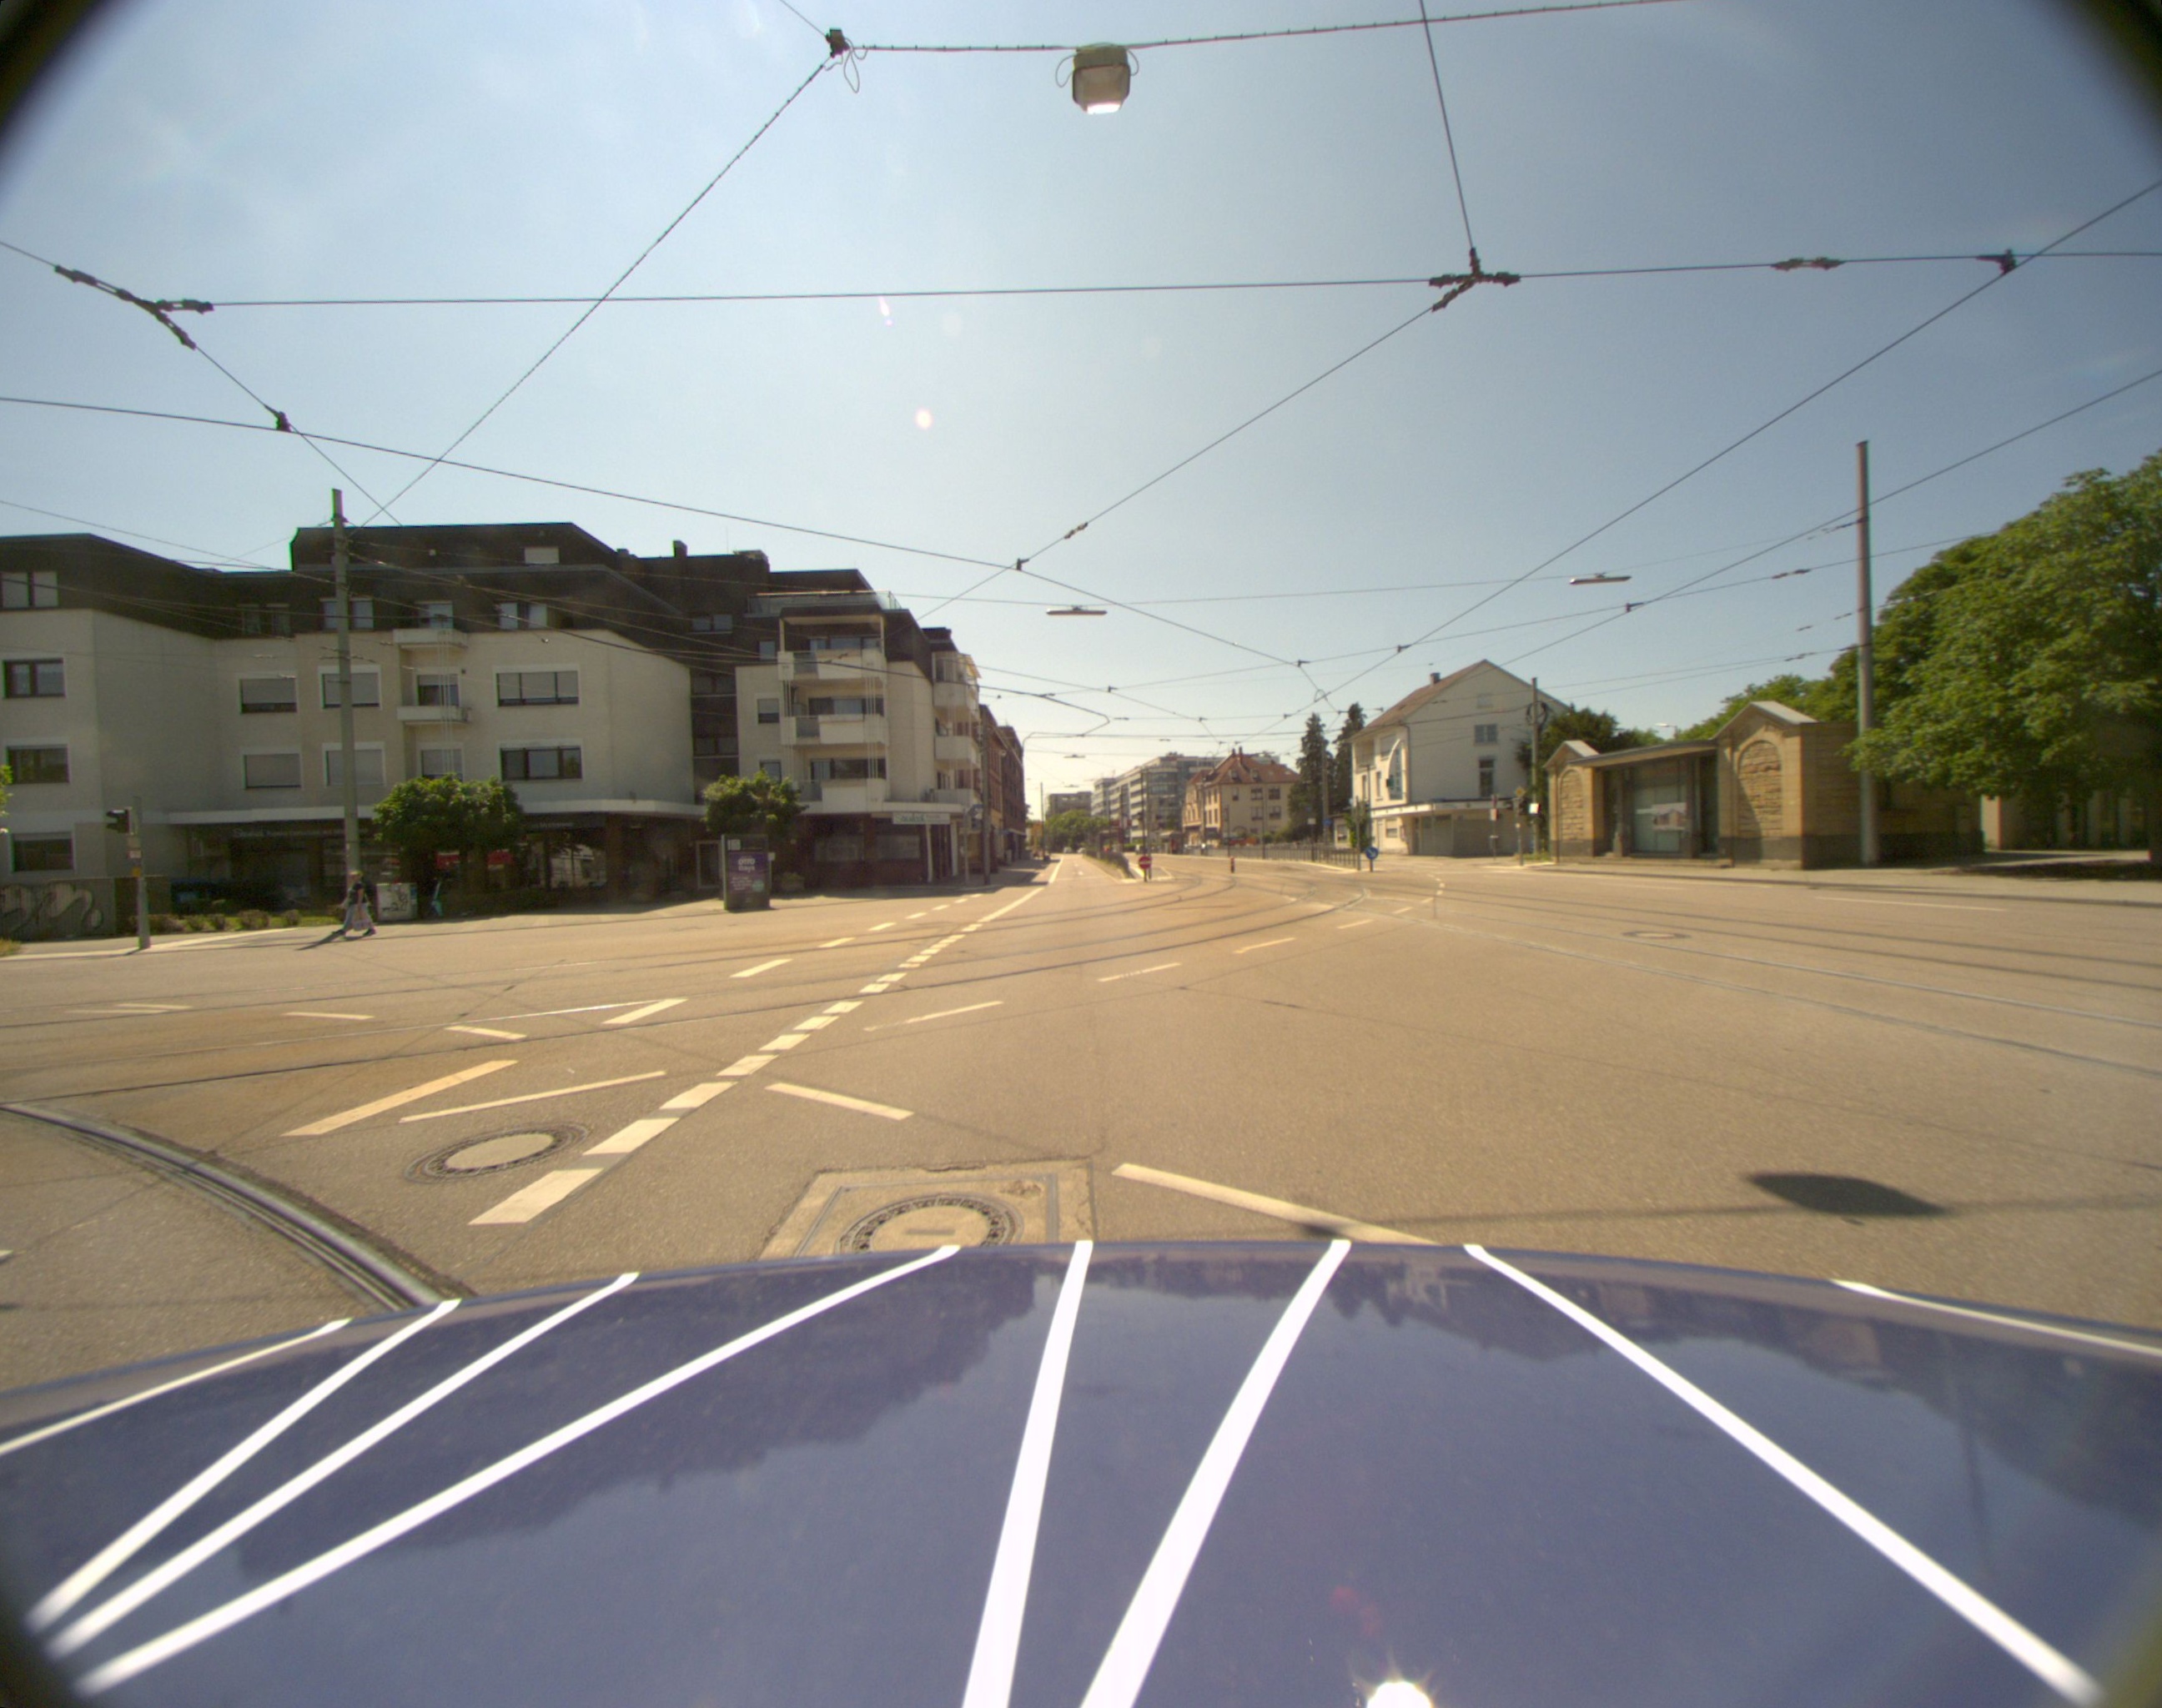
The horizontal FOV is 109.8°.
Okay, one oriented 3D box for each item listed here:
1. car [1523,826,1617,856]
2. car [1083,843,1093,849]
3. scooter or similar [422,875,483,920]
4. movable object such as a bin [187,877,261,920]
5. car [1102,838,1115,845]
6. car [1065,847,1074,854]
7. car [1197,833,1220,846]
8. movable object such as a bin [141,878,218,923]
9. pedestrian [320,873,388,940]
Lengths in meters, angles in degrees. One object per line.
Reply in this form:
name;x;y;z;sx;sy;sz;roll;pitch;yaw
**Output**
car;26.998;-0.700;42.045;3.954;1.444;1.824;-2;1;4
car;1.734;-1.930;194.190;1.824;1.459;4.619;-2;1;-9
scooter or similar;-18.257;1.253;22.108;1.257;1.206;0.393;-3;2;-27
movable object such as a bin;-30.170;1.556;26.774;1.321;1.398;1.062;-2;1;-2
car;6.172;-2.817;171.473;1.824;1.388;4.170;-2;1;-12
car;-3.433;-1.043;220.515;1.862;1.806;4.694;-2;0;-9
car;15.505;-1.723;92.448;1.823;1.481;4.496;-2;2;-3
movable object such as a bin;-30.306;1.554;25.575;1.059;1.398;1.194;-2;1;-2
pedestrian;-17.906;1.281;18.736;0.827;1.574;0.827;-2;1;13
